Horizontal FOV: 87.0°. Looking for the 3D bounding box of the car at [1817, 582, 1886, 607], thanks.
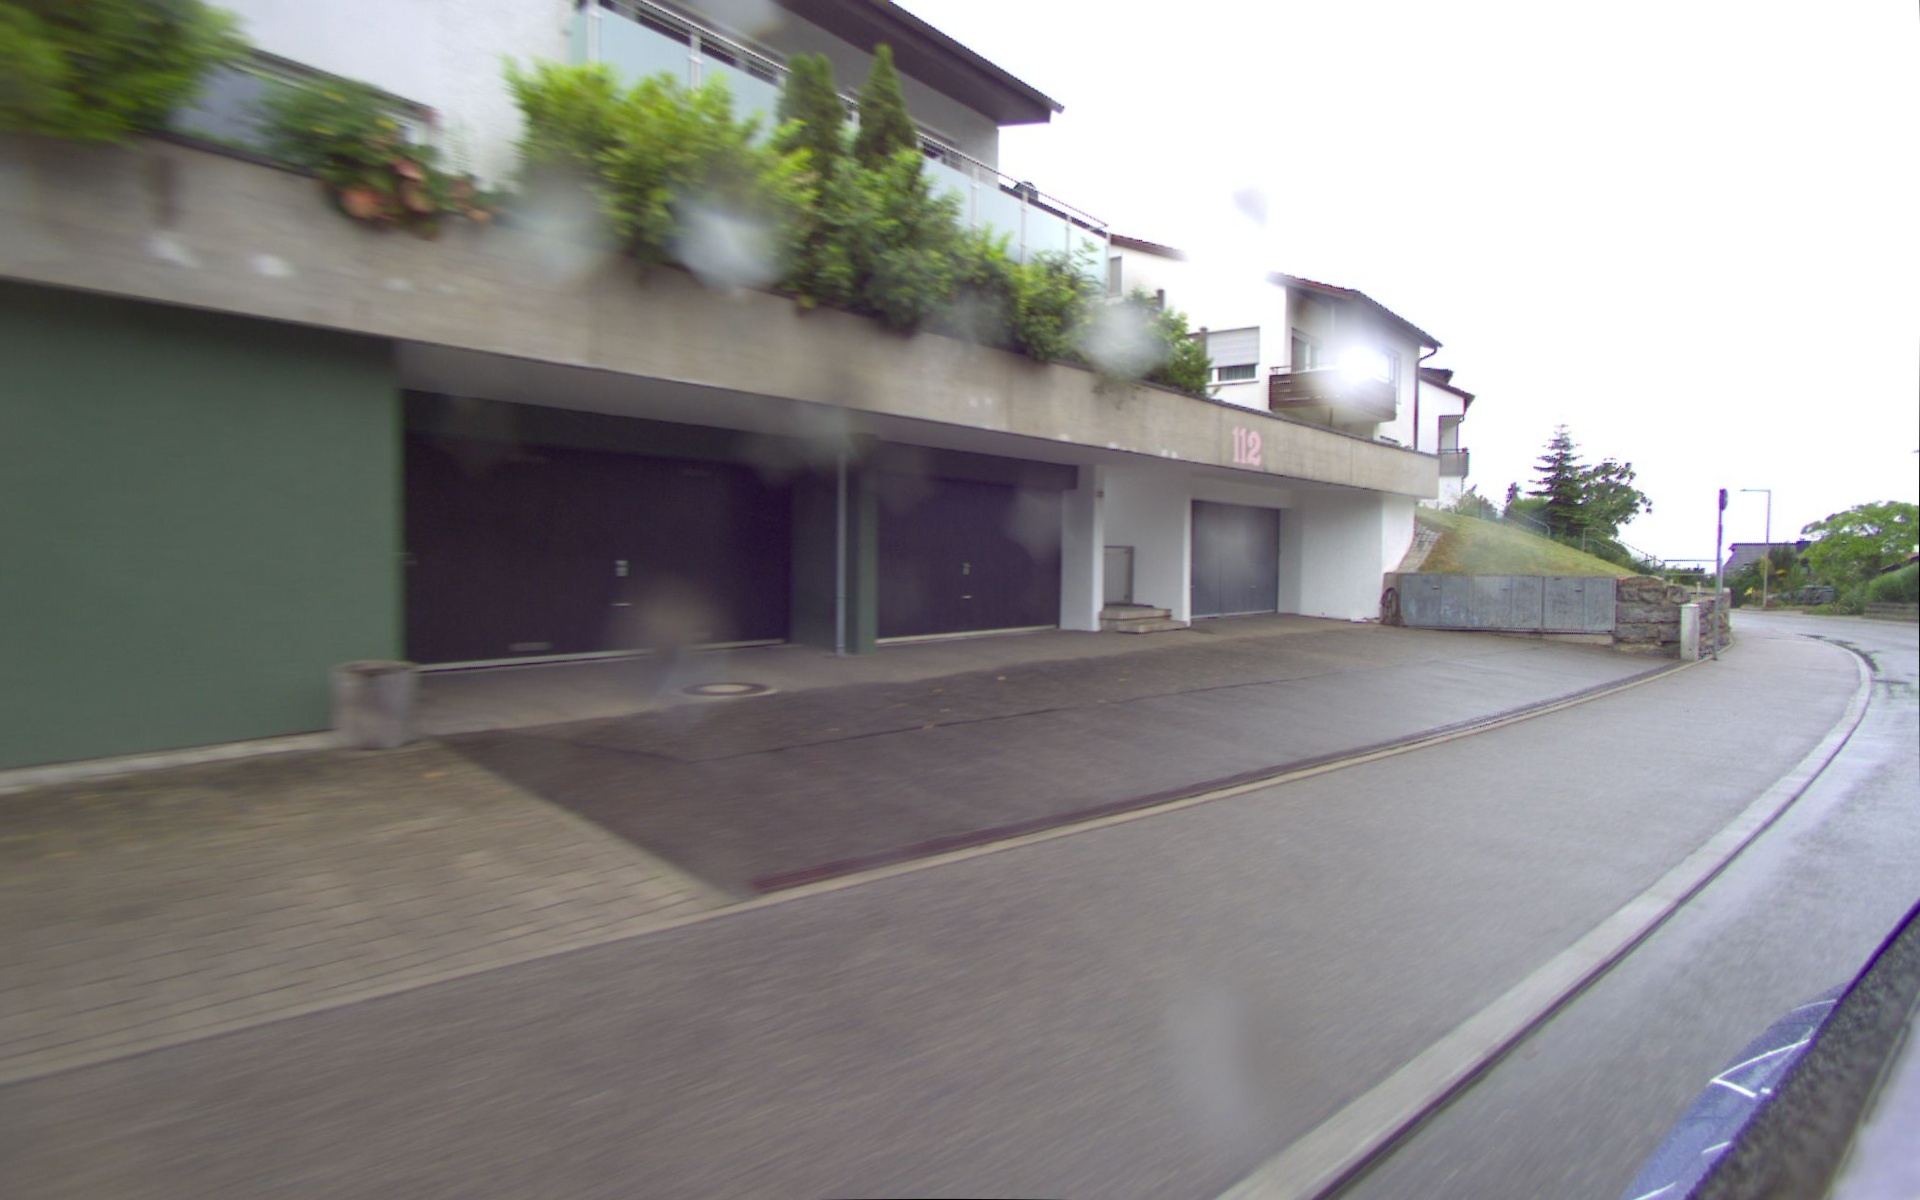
[{"bbox_3d":[55.442,-0.334,62.954,1.429,1.499,3.037,0,1,-40],"label":"car"}]
